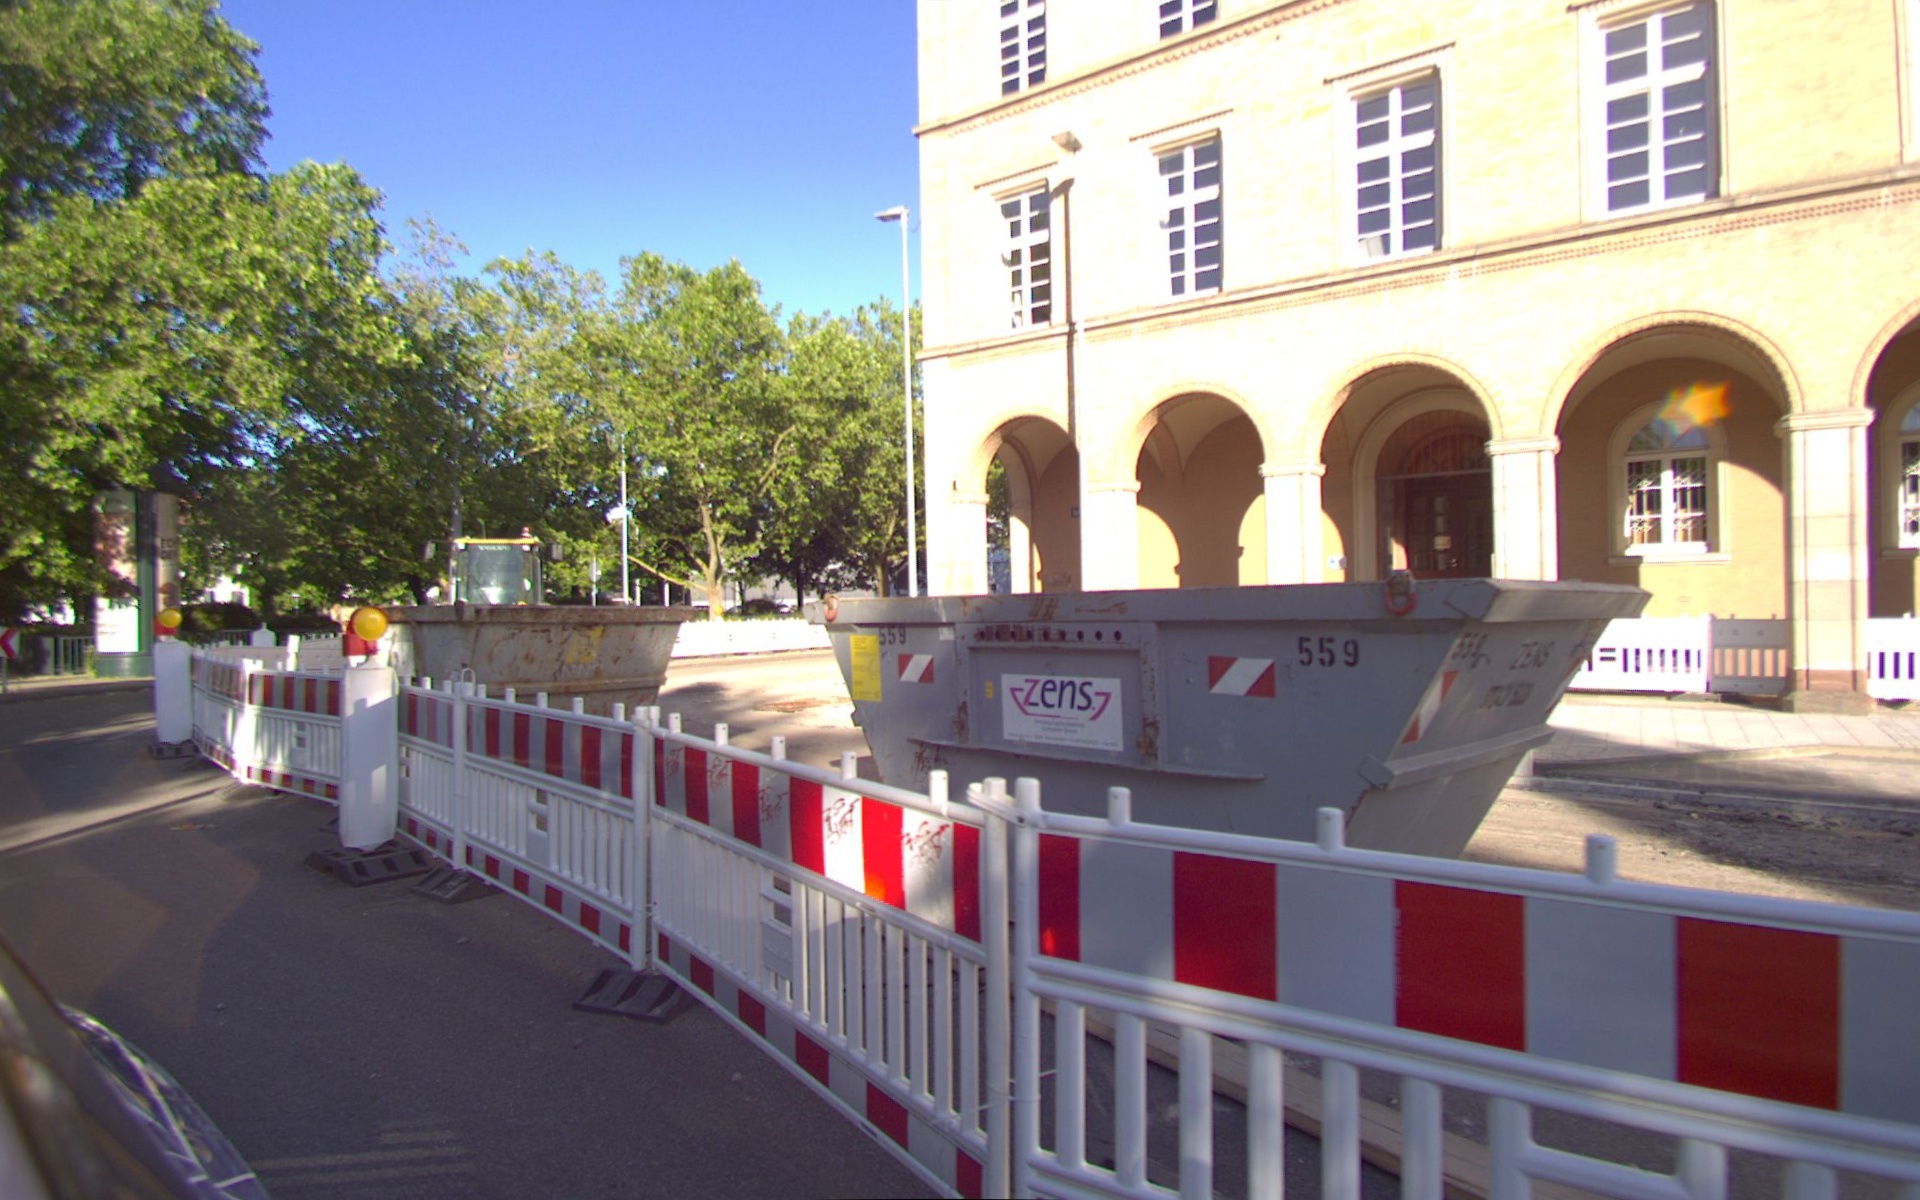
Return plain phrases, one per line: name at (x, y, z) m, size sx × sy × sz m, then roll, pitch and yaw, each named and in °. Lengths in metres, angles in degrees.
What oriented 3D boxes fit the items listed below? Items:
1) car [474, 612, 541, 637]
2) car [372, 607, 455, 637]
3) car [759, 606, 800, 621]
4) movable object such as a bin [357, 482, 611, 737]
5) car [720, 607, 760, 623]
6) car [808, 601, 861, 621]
car at (-32.188, 1.710, 72.067) m, size 1.917 × 1.638 × 3.958 m, roll -3°, pitch -2°, yaw 31°
car at (-31.263, 1.238, 58.012) m, size 1.547 × 1.638 × 3.958 m, roll -3°, pitch -2°, yaw 31°
car at (-17.742, 1.336, 99.606) m, size 3.834 × 1.496 × 1.614 m, roll -1°, pitch 0°, yaw 29°
movable object such as a bin at (-6.795, 0.106, 15.298) m, size 2.523 × 3.054 × 5.949 m, roll 0°, pitch 0°, yaw -16°
car at (-22.085, 1.512, 101.475) m, size 3.834 × 1.496 × 1.614 m, roll -1°, pitch 0°, yaw 29°
car at (-12.034, 1.078, 96.736) m, size 4.699 × 1.842 × 2.089 m, roll -1°, pitch 0°, yaw 29°
